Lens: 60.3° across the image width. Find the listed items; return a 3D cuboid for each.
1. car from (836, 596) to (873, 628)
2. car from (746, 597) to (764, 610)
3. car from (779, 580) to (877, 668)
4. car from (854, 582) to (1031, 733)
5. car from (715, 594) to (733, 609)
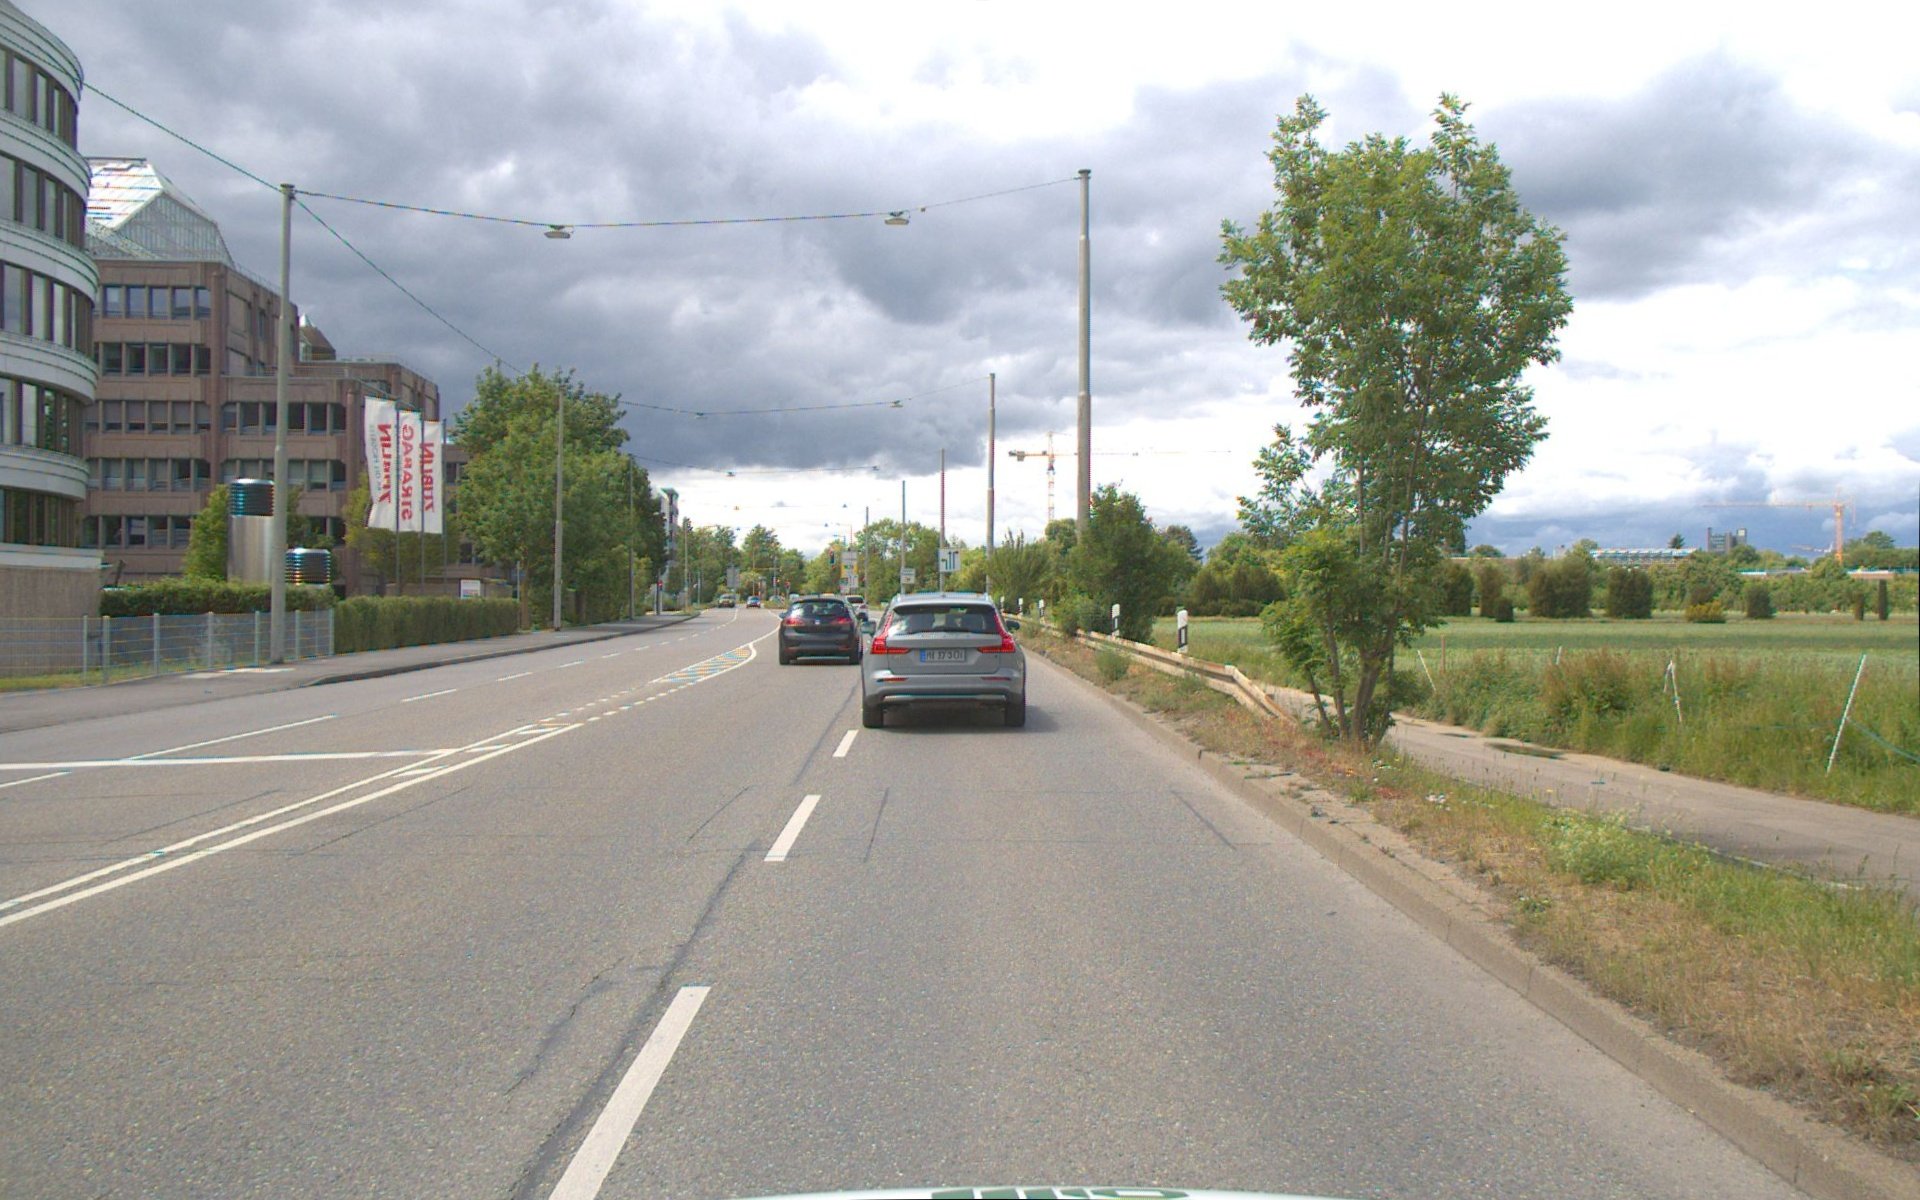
[{"bbox_3d":[-5.984,0.720,94.340,1.953,1.724,3.998,2,-1,-2],"label":"car"},{"bbox_3d":[-24.933,0.447,201.338,1.844,1.547,3.997,2,-1,-3],"label":"car"},{"bbox_3d":[-2.833,0.515,35.975,1.954,1.747,3.997,2,-1,-4],"label":"car"},{"bbox_3d":[-0.194,0.630,19.447,1.857,1.581,3.999,0,-1,0],"label":"car"},{"bbox_3d":[-28.989,0.241,203.035,1.844,1.747,3.997,2,-1,-3],"label":"car"}]
